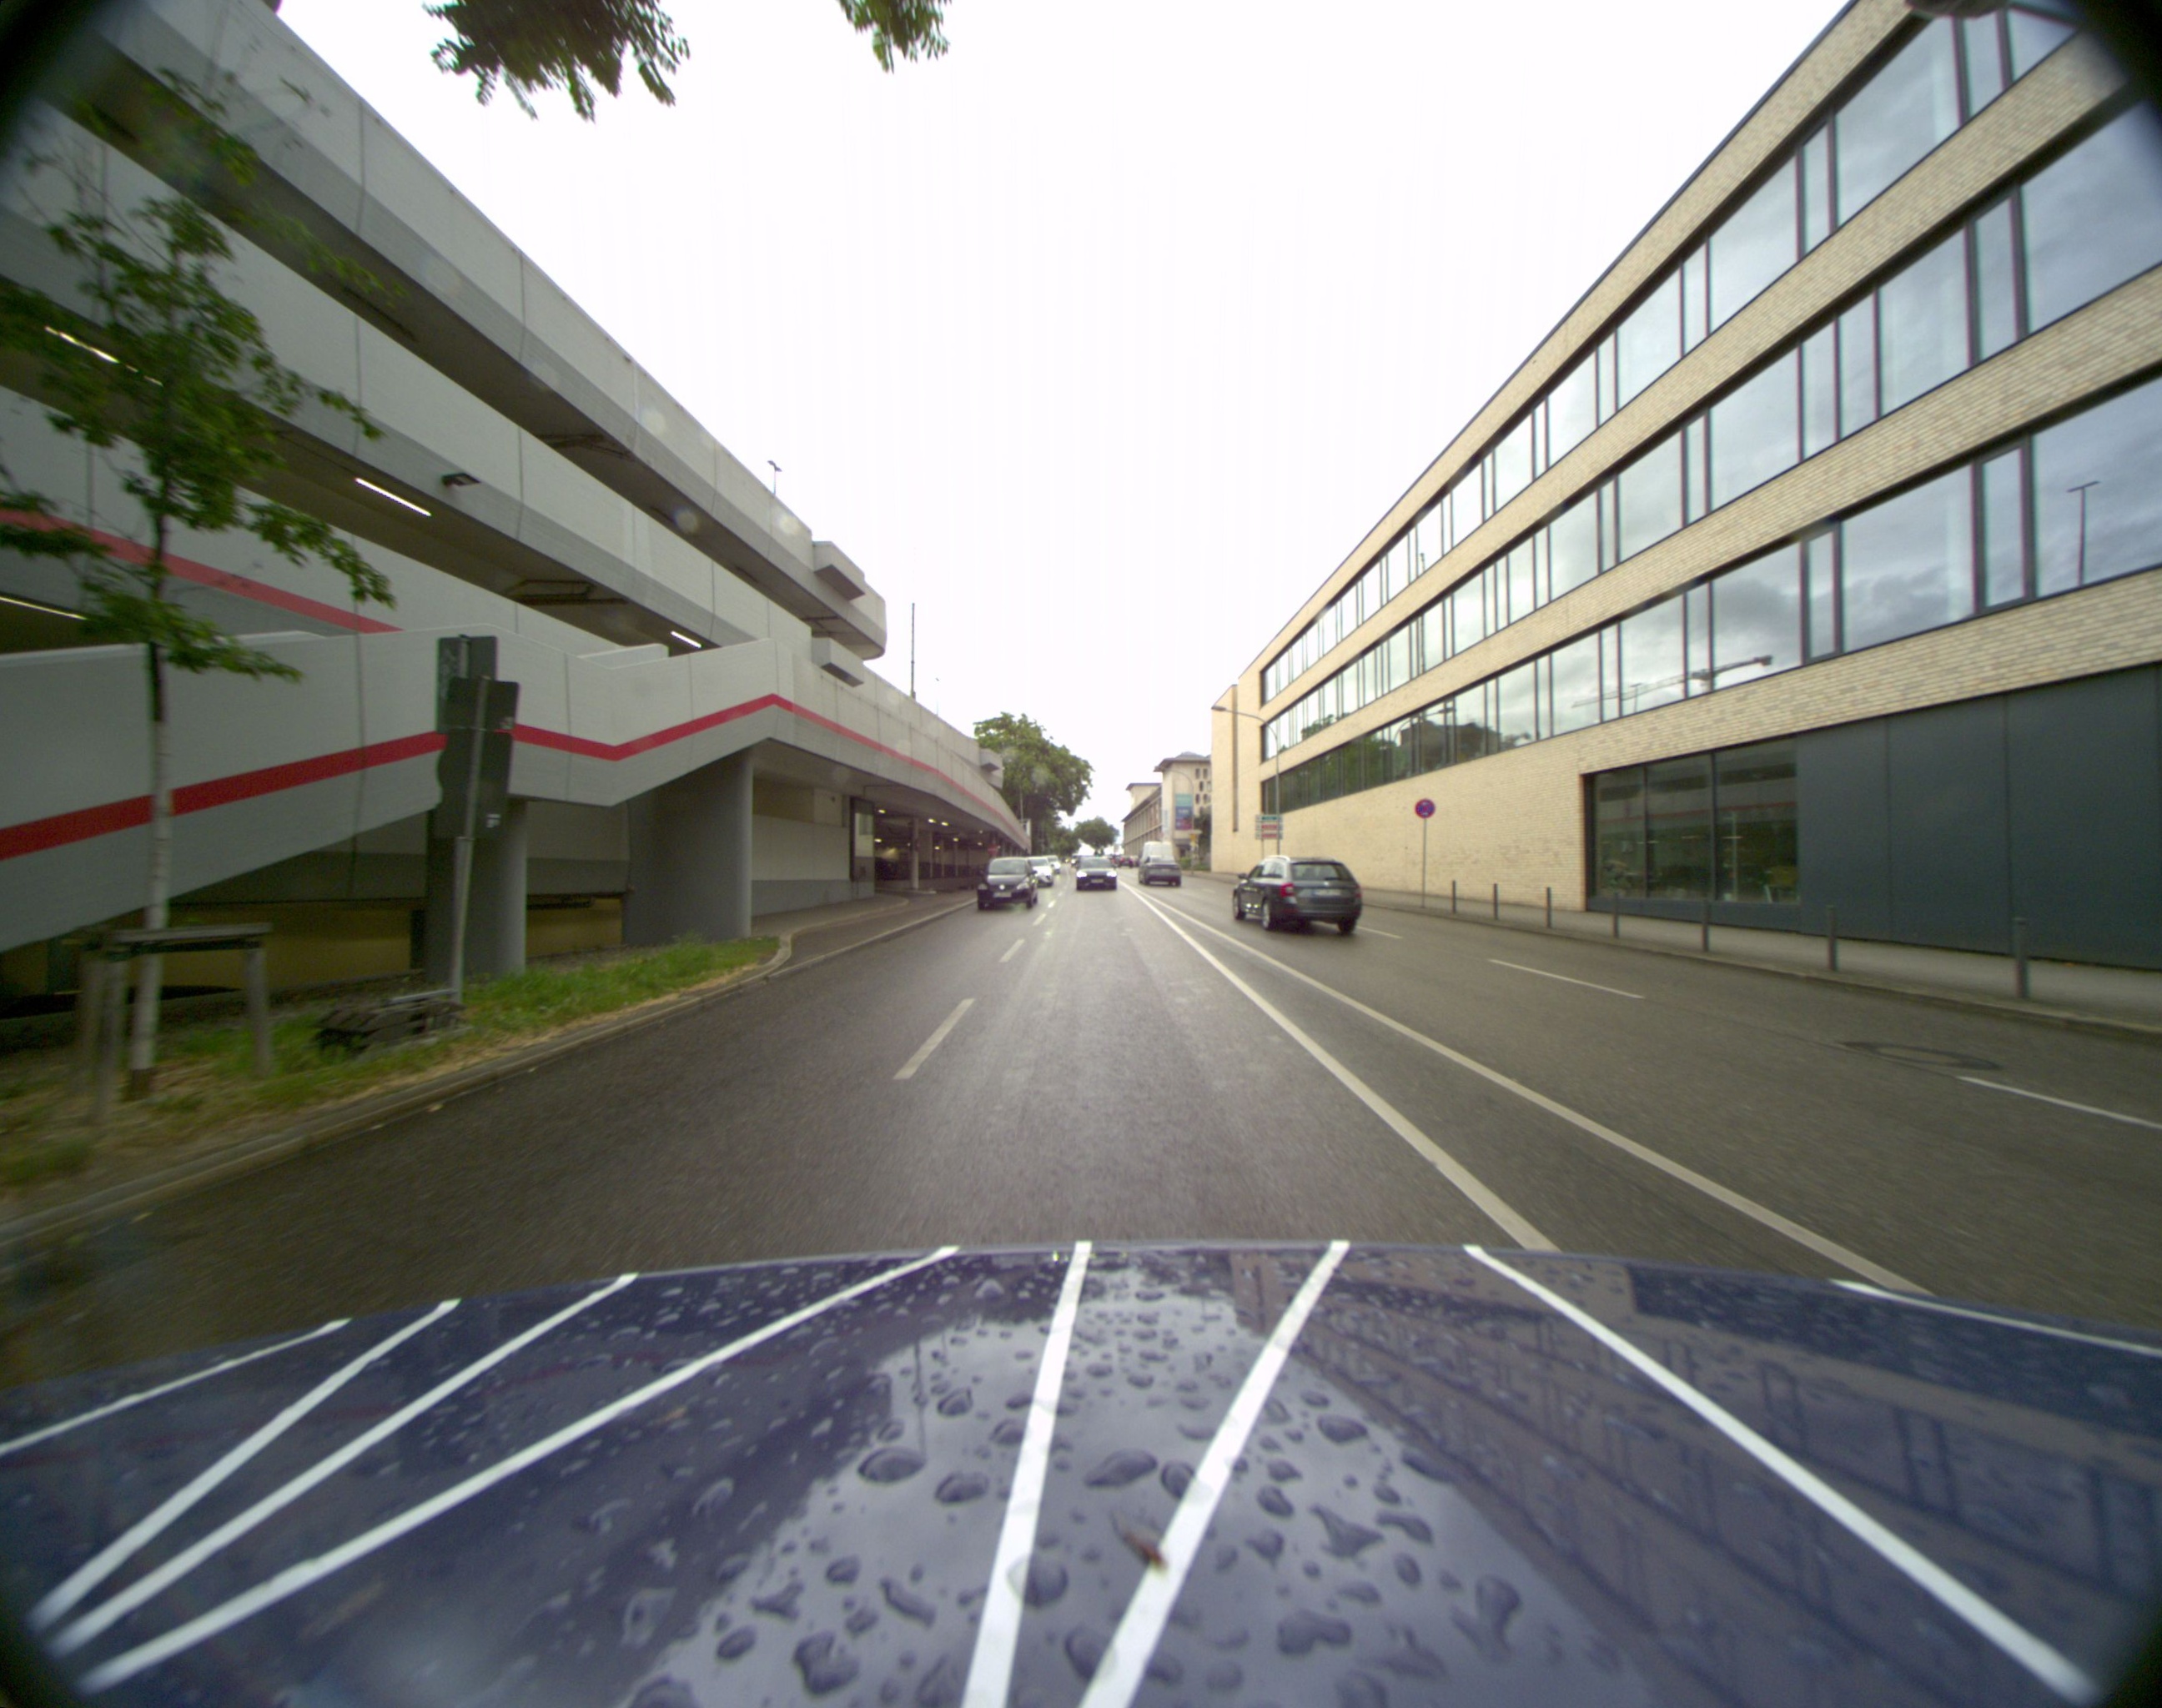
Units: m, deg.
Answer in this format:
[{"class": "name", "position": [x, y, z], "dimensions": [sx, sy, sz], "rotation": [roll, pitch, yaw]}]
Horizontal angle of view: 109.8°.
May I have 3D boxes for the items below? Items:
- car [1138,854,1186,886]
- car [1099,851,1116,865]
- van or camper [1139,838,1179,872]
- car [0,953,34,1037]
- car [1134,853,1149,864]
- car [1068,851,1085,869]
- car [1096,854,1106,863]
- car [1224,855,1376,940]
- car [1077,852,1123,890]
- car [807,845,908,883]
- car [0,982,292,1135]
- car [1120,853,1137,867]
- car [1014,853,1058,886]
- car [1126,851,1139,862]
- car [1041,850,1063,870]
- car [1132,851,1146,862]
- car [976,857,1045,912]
[{"class": "car", "position": [4.127, 0.777, 39.329], "dimensions": [1.888, 1.489, 4.561], "rotation": [1, 0, -2]}, {"class": "car", "position": [3.107, 0.442, 88.565], "dimensions": [1.745, 1.461, 3.881], "rotation": [1, 0, -1]}, {"class": "van or camper", "position": [6.138, 0.032, 60.644], "dimensions": [2.108, 2.567, 5.905], "rotation": [1, 1, -4]}, {"class": "car", "position": [-22.212, 2.670, 13.882], "dimensions": [3.995, 1.530, 1.840], "rotation": [-1, -3, 6]}, {"class": "car", "position": [8.683, 0.634, 109.070], "dimensions": [1.800, 1.516, 4.056], "rotation": [-2, 0, 1]}, {"class": "car", "position": [-0.566, 0.747, 95.564], "dimensions": [1.998, 2.002, 3.999], "rotation": [-2, 1, 0]}, {"class": "car", "position": [3.745, 0.889, 144.343], "dimensions": [1.800, 1.516, 4.056], "rotation": [-2, 0, 1]}, {"class": "car", "position": [4.436, 0.813, 16.119], "dimensions": [1.816, 1.454, 4.287], "rotation": [2, 1, -2]}, {"class": "car", "position": [0.836, 0.746, 33.739], "dimensions": [1.852, 1.516, 3.990], "rotation": [-2, 0, 1]}, {"class": "car", "position": [-10.858, 0.508, 37.021], "dimensions": [4.251, 1.650, 2.003], "rotation": [-1, -4, 10]}, {"class": "car", "position": [-13.035, 2.541, 9.842], "dimensions": [3.938, 1.530, 1.840], "rotation": [-1, -3, 6]}, {"class": "car", "position": [6.138, 0.766, 98.685], "dimensions": [1.859, 1.652, 4.000], "rotation": [-1, 0, 0]}, {"class": "car", "position": [-2.247, 0.752, 38.857], "dimensions": [1.915, 1.443, 4.036], "rotation": [-2, 1, 0]}, {"class": "car", "position": [8.905, 0.434, 131.143], "dimensions": [1.998, 1.819, 3.999], "rotation": [-2, 1, 0]}, {"class": "car", "position": [-2.526, 0.512, 66.983], "dimensions": [1.727, 1.628, 3.999], "rotation": [-2, 1, 1]}, {"class": "car", "position": [8.686, 0.423, 114.811], "dimensions": [1.800, 1.516, 4.056], "rotation": [-2, 0, 1]}, {"class": "car", "position": [-2.134, 0.887, 23.875], "dimensions": [1.683, 1.516, 3.990], "rotation": [-2, 0, 1]}]
